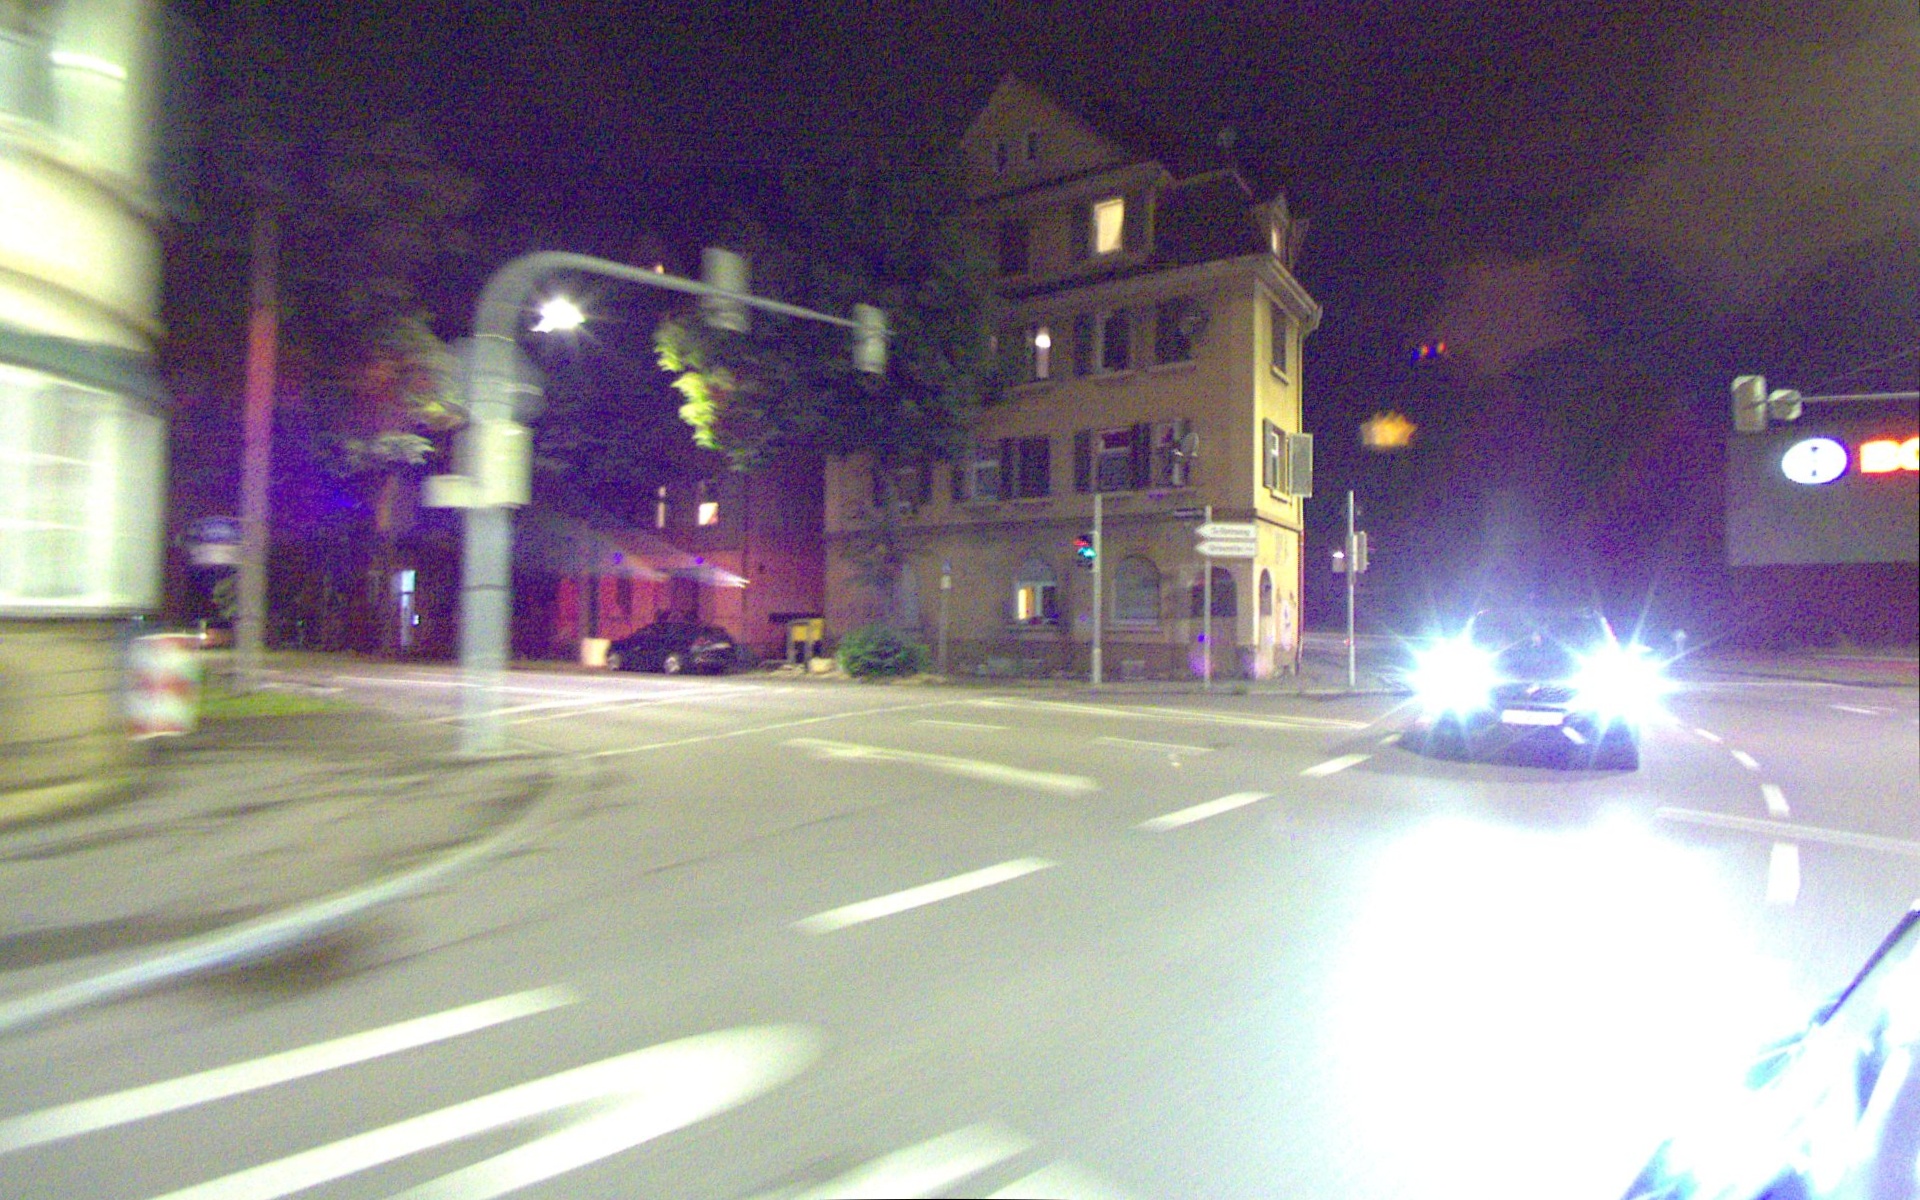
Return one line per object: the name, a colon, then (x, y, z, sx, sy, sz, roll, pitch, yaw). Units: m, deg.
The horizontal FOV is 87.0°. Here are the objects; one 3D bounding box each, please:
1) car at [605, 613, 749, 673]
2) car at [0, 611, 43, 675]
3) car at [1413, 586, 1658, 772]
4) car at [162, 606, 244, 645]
car: (-8.101, 1.195, 28.886, 3.976, 1.610, 1.973, -1, -2, 37)
car: (-24.514, 1.054, 24.903, 3.971, 1.524, 1.976, -1, -2, 34)
car: (6.385, 0.722, 11.119, 1.986, 1.637, 3.952, 0, -1, 33)
car: (-35.800, 1.219, 47.837, 3.874, 1.685, 1.975, -3, -4, 34)
